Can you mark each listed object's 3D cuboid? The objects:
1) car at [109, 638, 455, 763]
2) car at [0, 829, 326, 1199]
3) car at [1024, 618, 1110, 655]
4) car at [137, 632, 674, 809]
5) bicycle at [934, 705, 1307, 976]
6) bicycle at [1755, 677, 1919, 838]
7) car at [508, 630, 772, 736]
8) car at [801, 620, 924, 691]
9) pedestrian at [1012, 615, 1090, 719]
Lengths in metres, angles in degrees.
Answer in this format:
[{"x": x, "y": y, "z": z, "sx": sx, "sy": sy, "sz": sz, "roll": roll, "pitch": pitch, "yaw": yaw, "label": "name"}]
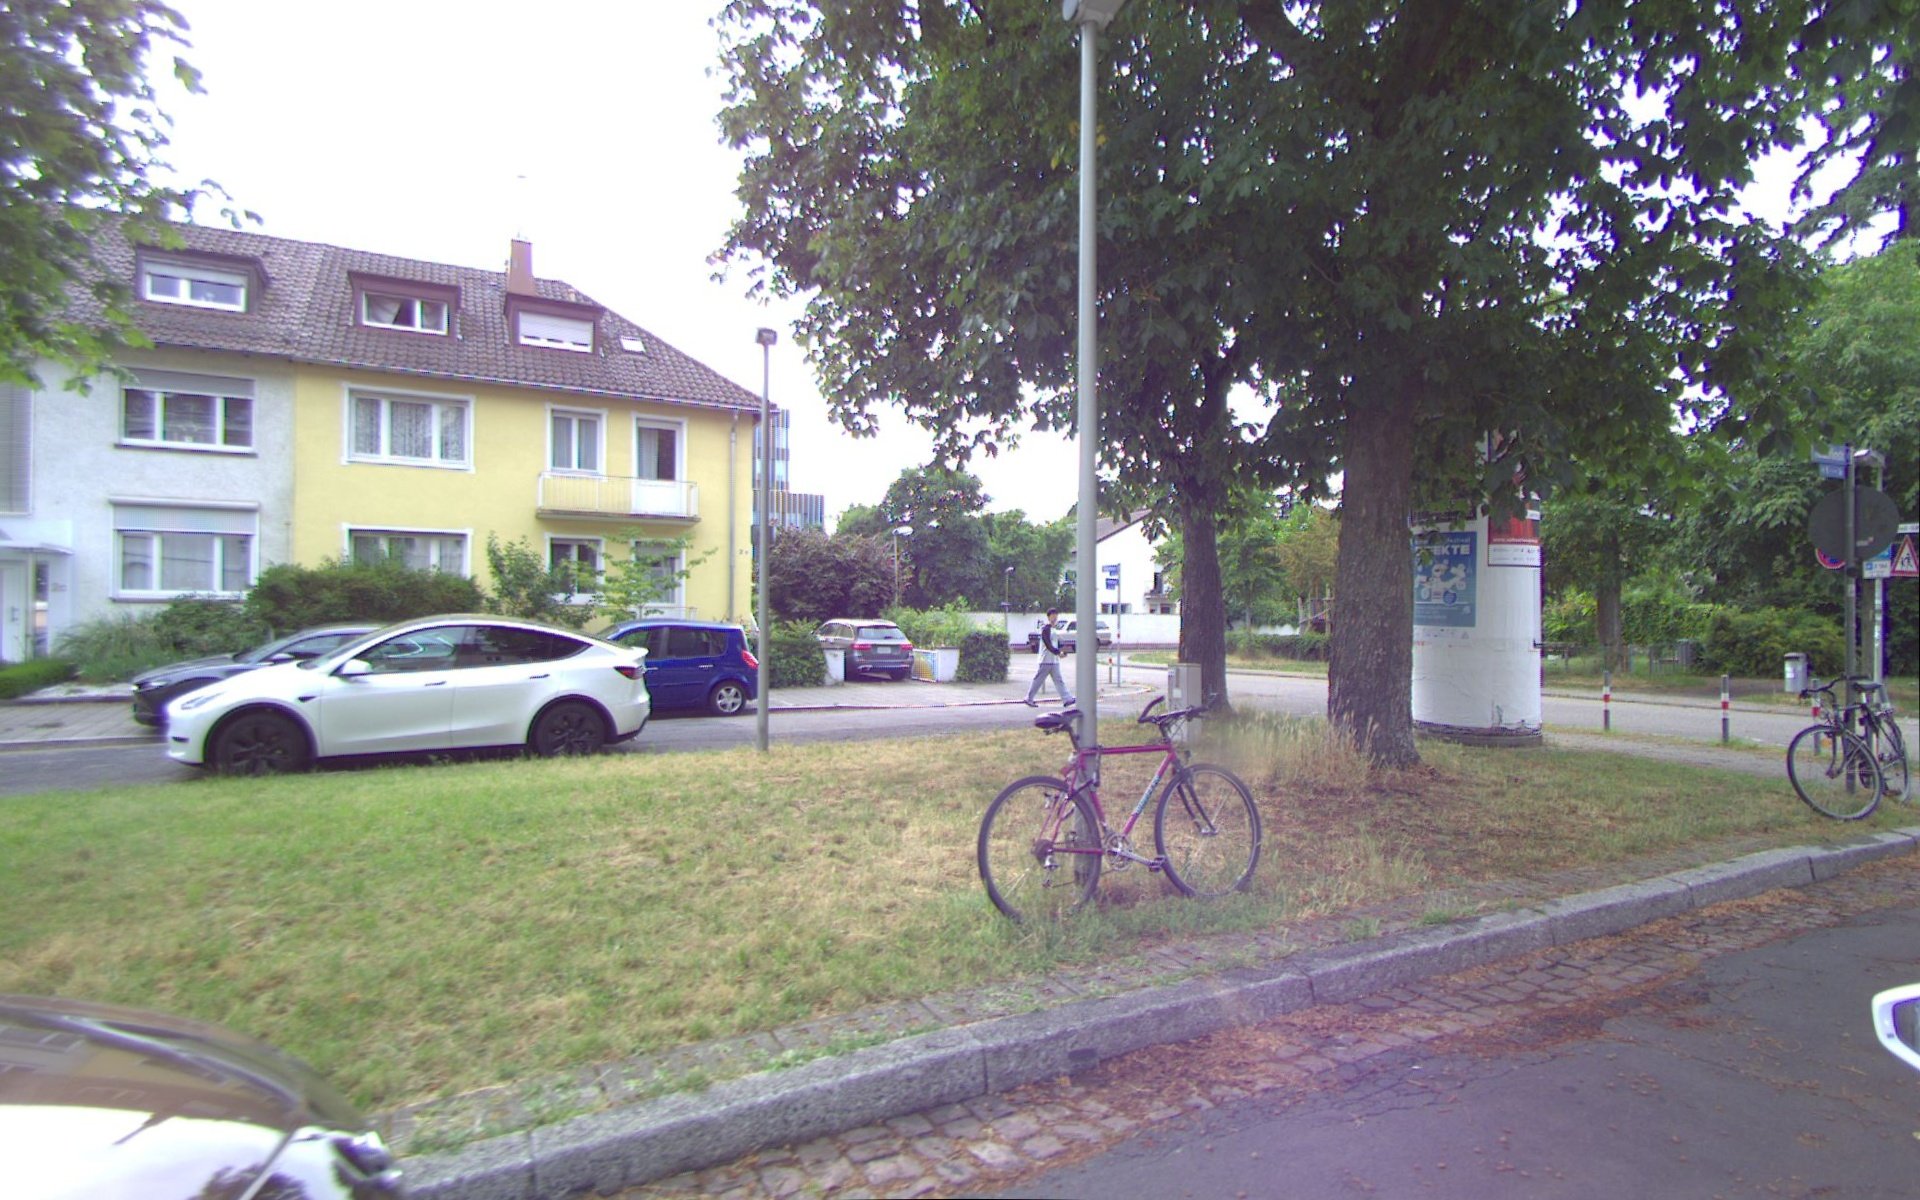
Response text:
[{"x": -9.929, "y": 1.411, "z": 15.132, "sx": 4.115, "sy": 1.520, "sz": 1.707, "roll": 0, "pitch": 1, "yaw": -29, "label": "car"}, {"x": -2.887, "y": 1.177, "z": 0.579, "sx": 4.110, "sy": 1.476, "sz": 1.705, "roll": 0, "pitch": -6, "yaw": -28, "label": "car"}, {"x": 5.970, "y": 2.014, "z": 56.088, "sx": 4.435, "sy": 1.884, "sz": 1.986, "roll": 0, "pitch": 1, "yaw": -27, "label": "car"}, {"x": -5.825, "y": 1.163, "z": 11.171, "sx": 4.823, "sy": 1.587, "sz": 1.889, "roll": 1, "pitch": -1, "yaw": -28, "label": "car"}, {"x": 0.843, "y": 1.136, "z": 5.152, "sx": 1.860, "sy": 1.080, "sz": 0.663, "roll": 1, "pitch": -1, "yaw": -26, "label": "bicycle"}, {"x": 6.888, "y": 1.144, "z": 7.685, "sx": 2.157, "sy": 0.999, "sz": 0.508, "roll": 0, "pitch": 1, "yaw": -31, "label": "bicycle"}, {"x": -5.477, "y": 1.345, "z": 17.276, "sx": 4.152, "sy": 1.587, "sz": 1.695, "roll": 1, "pitch": 0, "yaw": -24, "label": "car"}, {"x": -2.561, "y": 1.346, "z": 25.530, "sx": 1.819, "sy": 1.632, "sz": 3.973, "roll": 1, "pitch": -2, "yaw": -27, "label": "car"}, {"x": 1.702, "y": 1.211, "z": 18.676, "sx": 1.197, "sy": 1.860, "sz": 0.877, "roll": -1, "pitch": -1, "yaw": 29, "label": "pedestrian"}]
